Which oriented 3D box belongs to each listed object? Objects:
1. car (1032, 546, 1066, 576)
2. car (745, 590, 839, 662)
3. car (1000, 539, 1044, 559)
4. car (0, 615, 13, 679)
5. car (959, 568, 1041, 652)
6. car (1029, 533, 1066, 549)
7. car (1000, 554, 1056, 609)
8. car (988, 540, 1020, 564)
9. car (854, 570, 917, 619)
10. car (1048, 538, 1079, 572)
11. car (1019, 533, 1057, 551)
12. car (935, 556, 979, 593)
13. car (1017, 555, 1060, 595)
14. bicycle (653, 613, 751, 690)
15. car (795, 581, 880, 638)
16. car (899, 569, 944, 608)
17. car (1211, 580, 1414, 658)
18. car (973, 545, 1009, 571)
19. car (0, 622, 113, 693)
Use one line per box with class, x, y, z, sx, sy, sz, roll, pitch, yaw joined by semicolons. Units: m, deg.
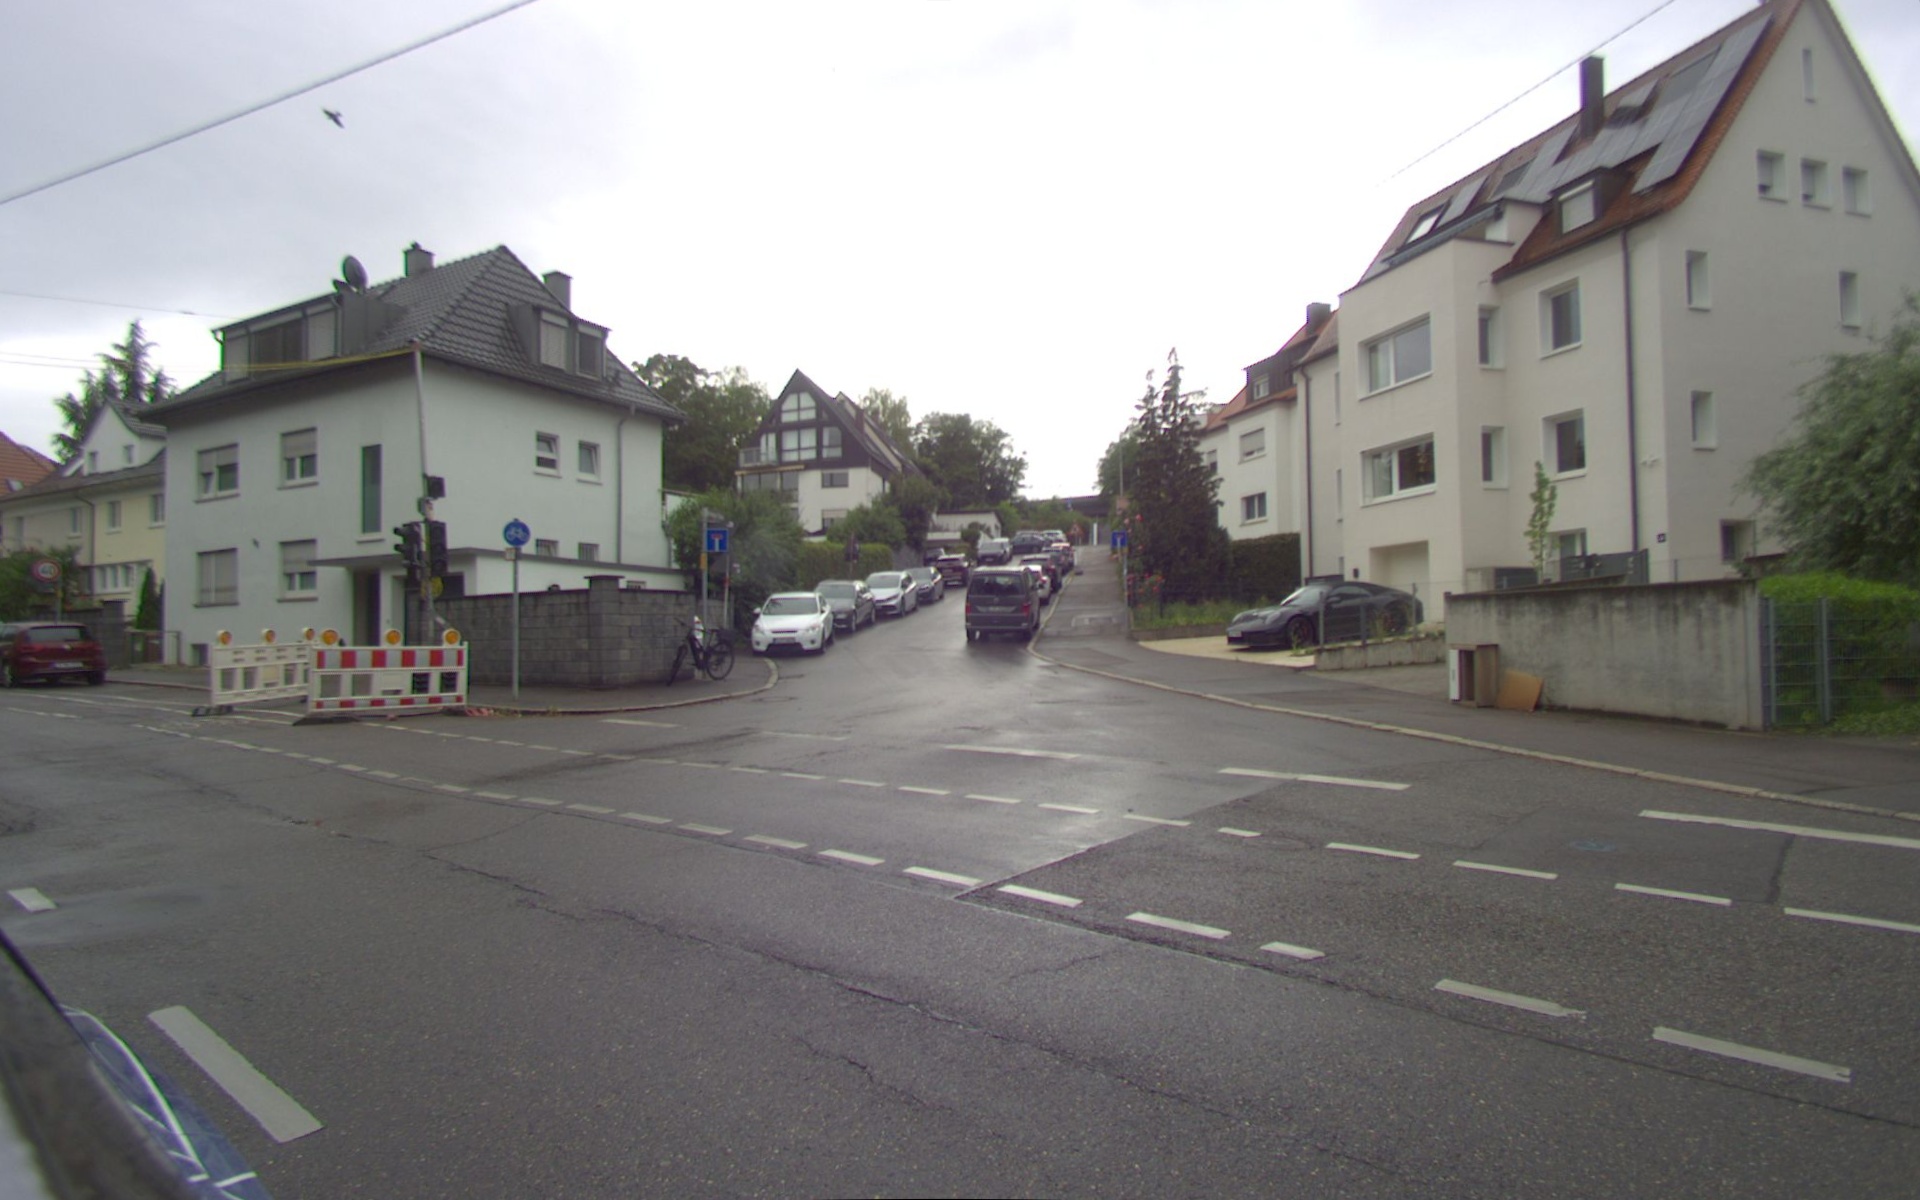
car;5.173;-2.289;58.353;1.677;1.479;3.553;-2;5;9
car;-4.209;0.605;25.855;1.726;1.476;3.561;-2;3;0
car;5.132;-4.223;83.794;3.572;1.510;1.578;-2;5;7
car;-25.936;1.280;25.817;3.993;1.601;1.652;-3;-1;33
car;1.217;0.212;28.937;1.893;1.950;3.789;-2;5;9
car;8.947;-6.073;103.791;3.492;1.510;1.614;-1;6;18
car;2.715;-0.757;39.929;1.900;1.850;3.406;-2;5;9
car;3.321;-3.600;75.984;1.720;1.510;3.817;-1;6;13
car;-2.663;-0.253;36.988;1.564;1.476;3.847;-1;5;7
car;6.436;-2.826;62.750;1.677;1.871;3.553;-2;5;9
car;7.634;-5.667;98.784;3.489;1.510;1.615;-1;6;16
car;-0.107;-1.352;52.179;1.323;1.566;3.971;-1;6;13
car;3.540;-1.139;45.224;1.565;1.479;3.553;-2;5;9
bicycle;-4.704;0.910;18.571;0.705;1.321;1.713;-1;0;33
car;-3.755;0.241;31.682;1.684;1.476;3.847;-2;3;7
car;-1.573;-0.516;42.503;1.320;1.400;3.497;-1;5;7
car;7.591;0.382;21.842;3.857;1.342;1.572;-4;1;-16
car;2.141;-2.883;68.834;1.720;1.510;3.817;-1;6;13
car;-21.478;1.341;23.396;3.785;1.505;1.877;-3;-3;33
